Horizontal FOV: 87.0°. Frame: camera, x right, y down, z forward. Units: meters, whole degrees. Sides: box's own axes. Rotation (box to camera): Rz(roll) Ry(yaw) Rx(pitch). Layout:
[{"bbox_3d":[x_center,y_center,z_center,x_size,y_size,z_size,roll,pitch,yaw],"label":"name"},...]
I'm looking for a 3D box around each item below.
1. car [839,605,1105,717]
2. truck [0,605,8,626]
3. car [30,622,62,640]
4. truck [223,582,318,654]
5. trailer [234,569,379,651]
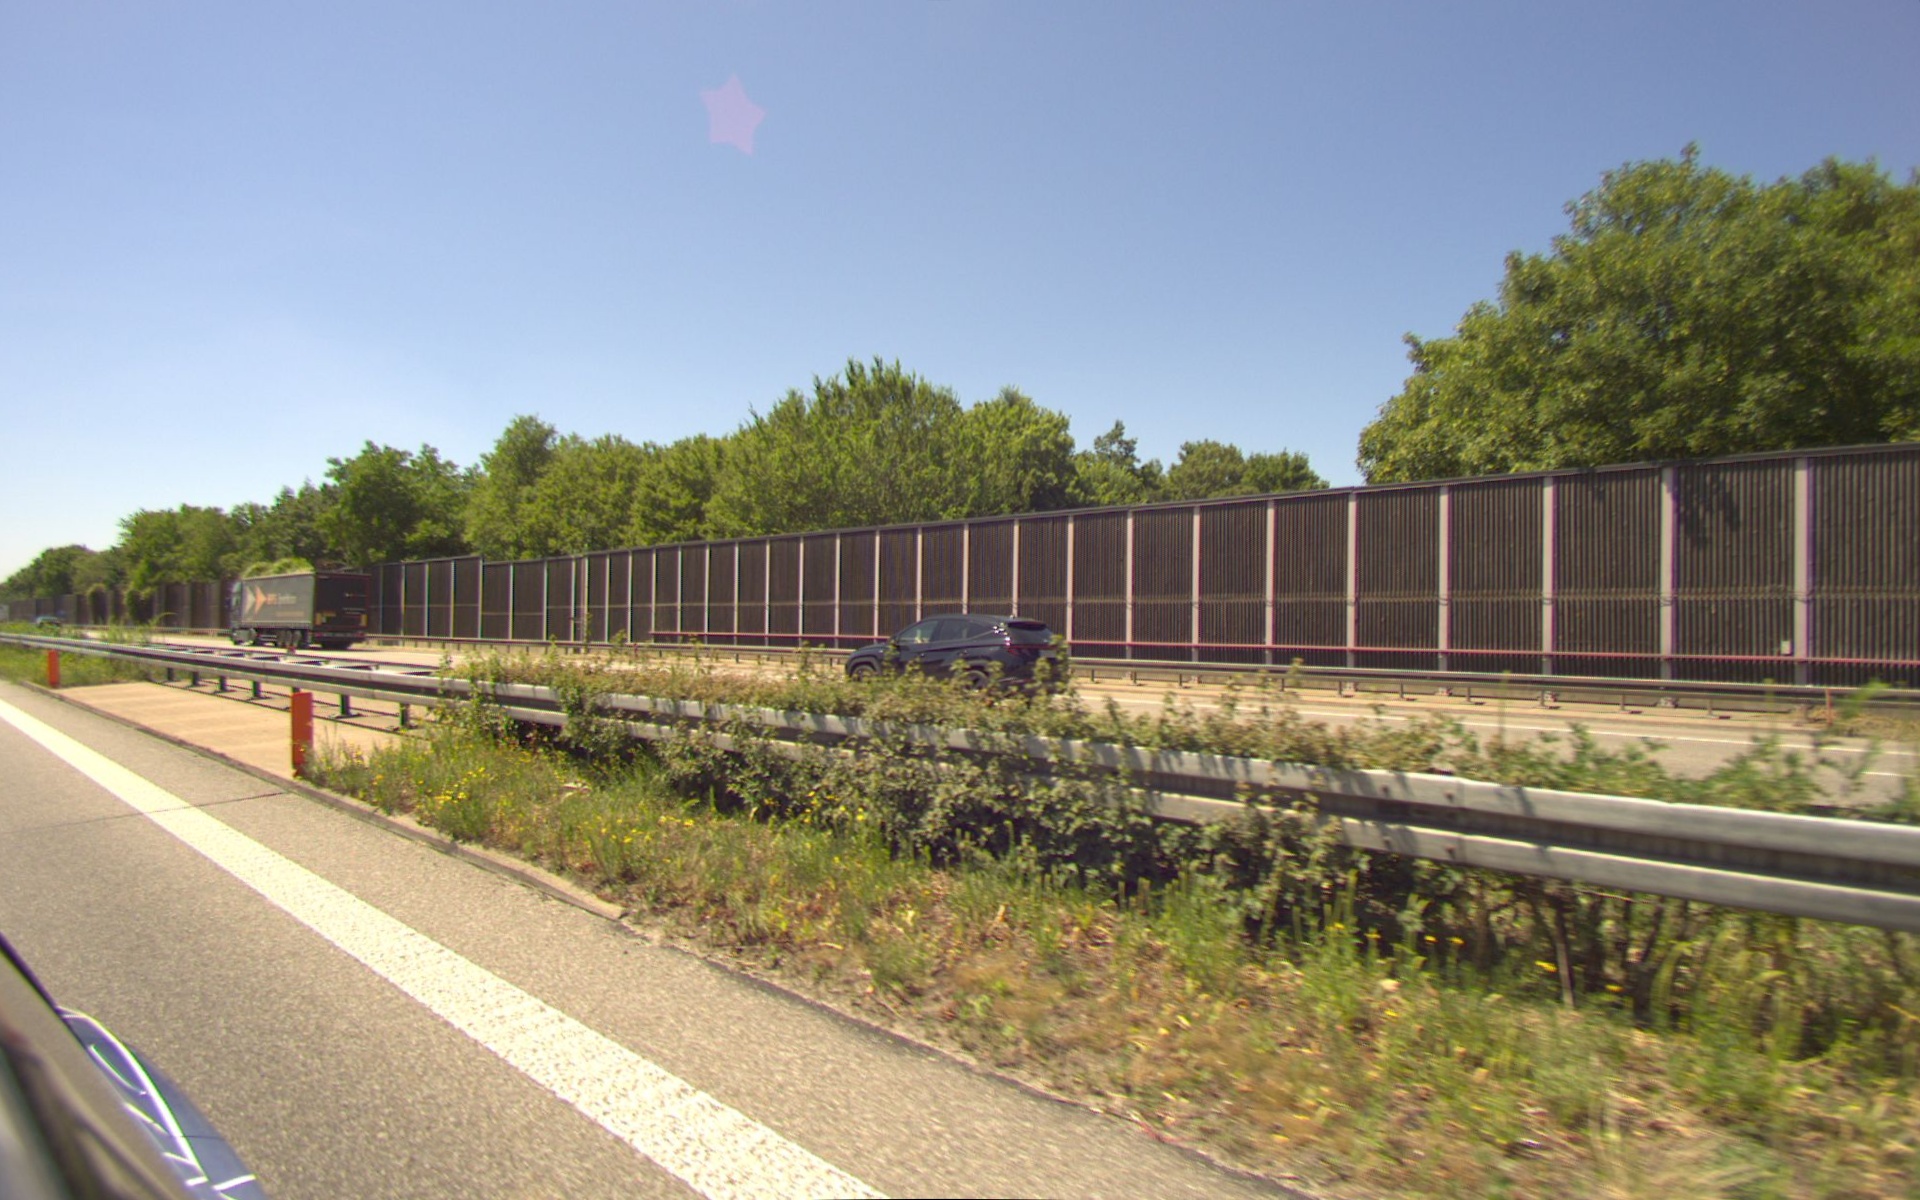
[{"bbox_3d":[0.105,0.973,17.776,4.546,1.705,1.861,-1,-1,41],"label":"car"},{"bbox_3d":[-170.652,2.769,178.103,10.962,3.711,3.511,-1,0,41],"label":"truck"},{"bbox_3d":[-86.211,2.921,95.472,4.001,1.586,1.974,-1,-1,44],"label":"car"},{"bbox_3d":[-41.001,1.105,60.090,6.188,4.039,3.060,-1,-3,41],"label":"truck"},{"bbox_3d":[-36.383,0.631,55.959,13.871,4.039,3.084,-1,-3,42],"label":"trailer"}]
